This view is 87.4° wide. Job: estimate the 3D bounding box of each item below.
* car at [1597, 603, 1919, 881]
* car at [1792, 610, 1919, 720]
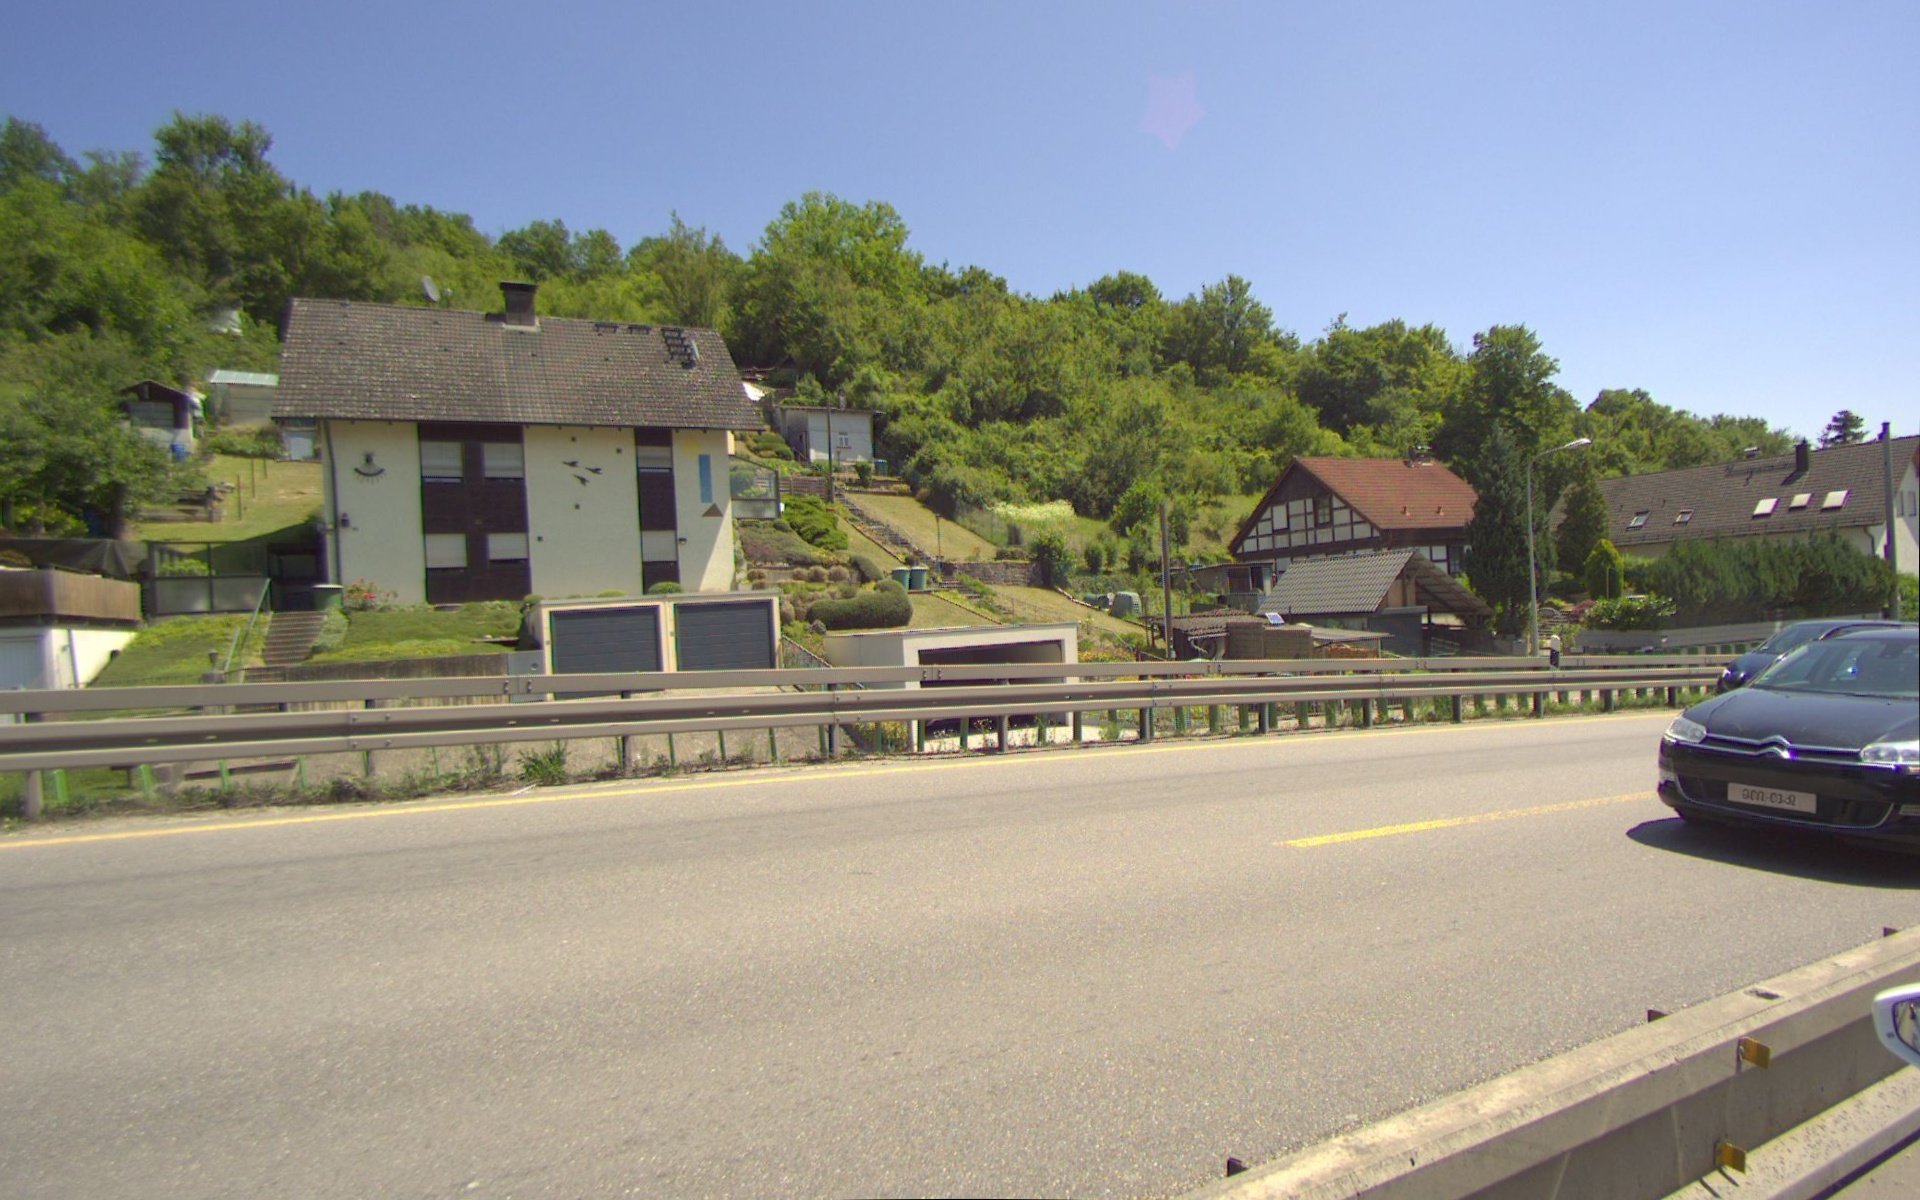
[{"bbox_3d":[6.934,0.876,7.358,4.596,1.524,1.983,3,-1,-31],"label":"car"},{"bbox_3d":[14.599,0.973,15.153,4.129,1.479,1.834,3,-1,-30],"label":"car"}]
